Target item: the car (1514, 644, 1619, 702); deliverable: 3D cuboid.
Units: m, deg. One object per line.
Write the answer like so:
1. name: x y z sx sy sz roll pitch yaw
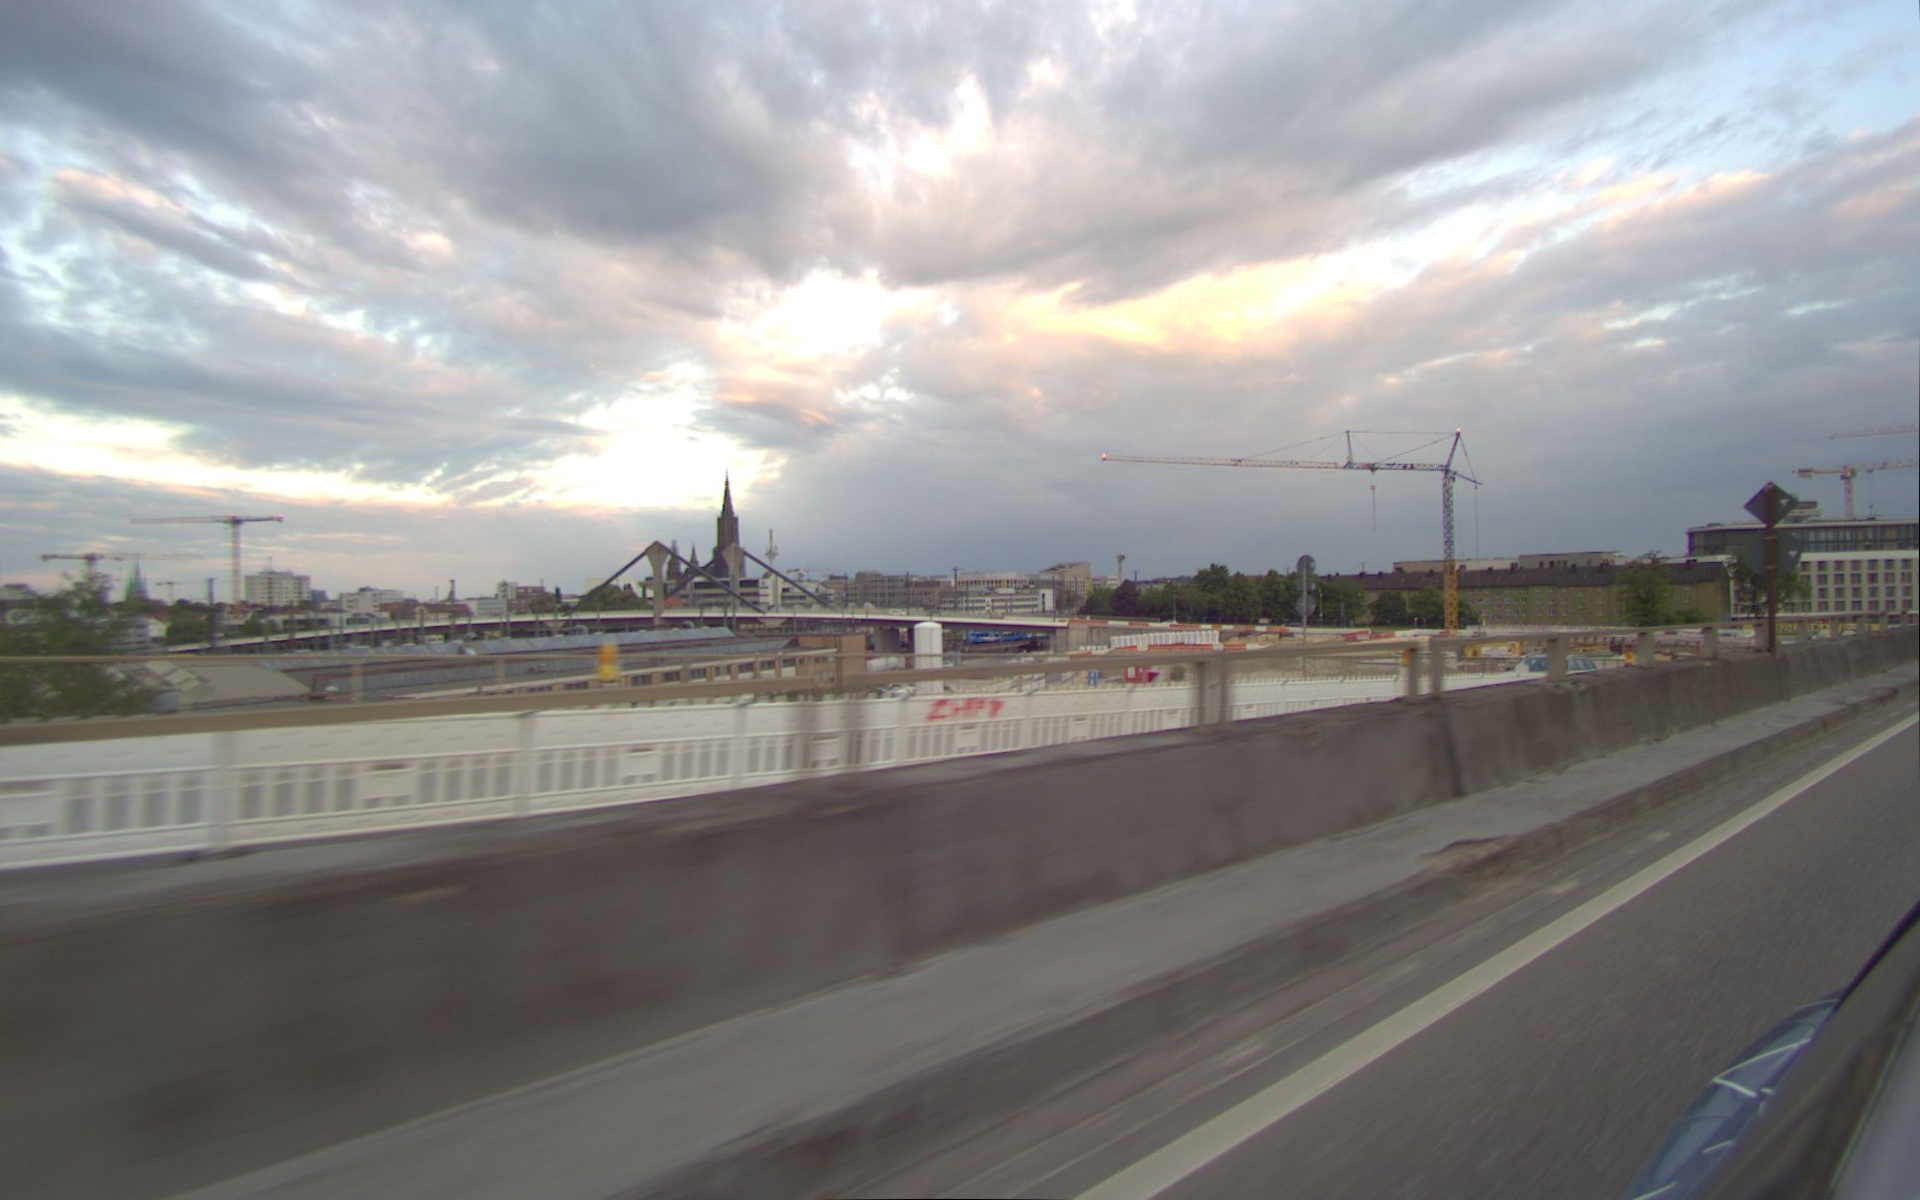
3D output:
1. car: 18.675 2.175 31.100 3.932 1.510 1.752 1 0 -43

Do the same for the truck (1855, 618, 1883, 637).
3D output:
1. truck: 146.669 4.400 163.230 7.204 2.987 2.161 0 -3 -39

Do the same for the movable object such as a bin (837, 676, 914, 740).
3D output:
1. movable object such as a bin: -6.336 8.096 75.793 4.930 4.367 2.745 -9 -6 39

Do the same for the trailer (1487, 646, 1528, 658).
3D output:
1. trailer: 67.189 6.353 124.155 4.165 1.257 1.786 -1 -2 -8
